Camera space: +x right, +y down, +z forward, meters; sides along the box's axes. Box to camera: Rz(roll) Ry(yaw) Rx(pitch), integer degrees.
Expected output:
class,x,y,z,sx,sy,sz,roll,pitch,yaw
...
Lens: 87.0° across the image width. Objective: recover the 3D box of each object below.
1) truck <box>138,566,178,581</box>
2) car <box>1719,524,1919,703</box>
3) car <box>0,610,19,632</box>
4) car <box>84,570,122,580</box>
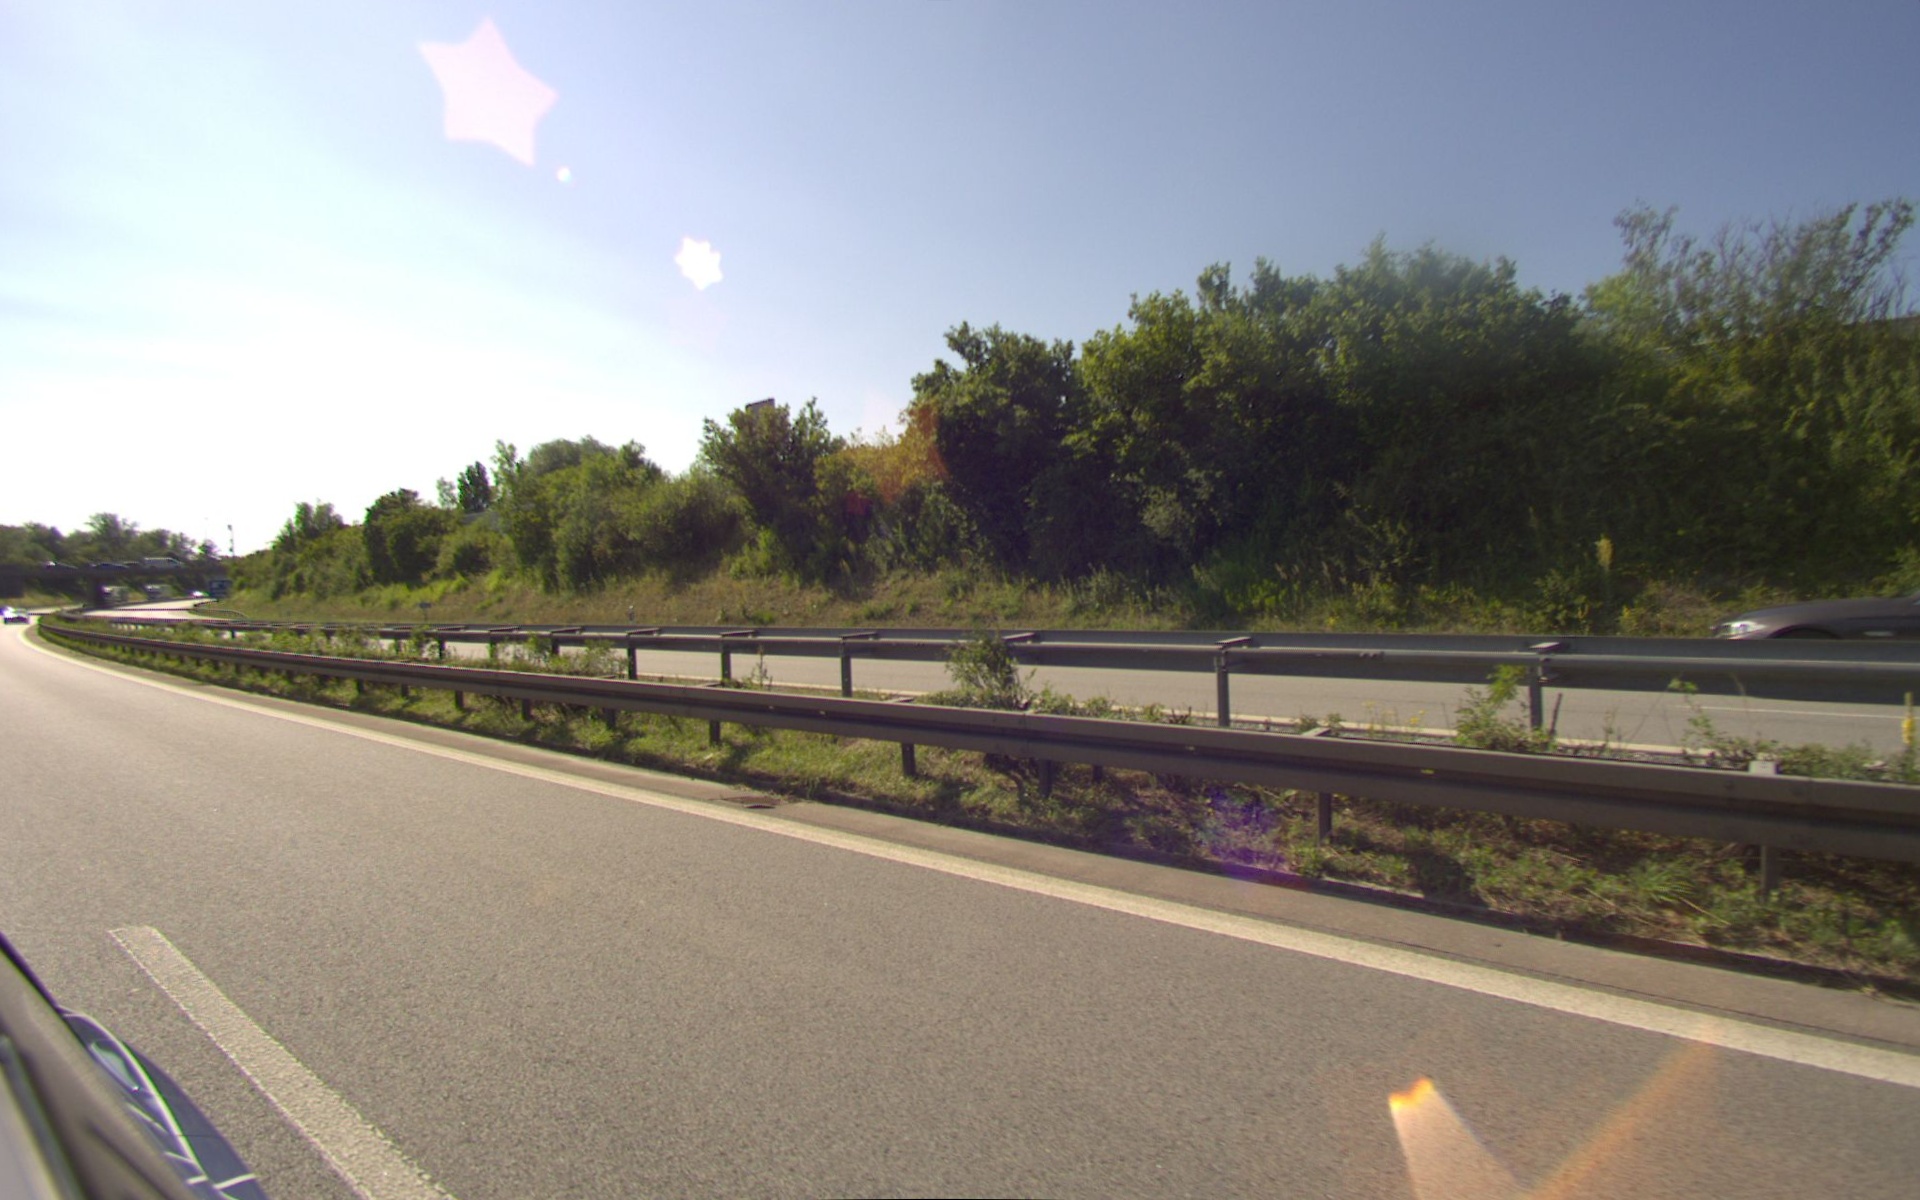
class,x,y,z,sx,sy,sz,roll,pitch,yaw
truck,-125.083,-4.126,157.881,4.793,2.183,2.004,-1,2,-38
car,9.985,0.113,8.901,5.171,1.576,1.946,-1,-1,41
car,-90.275,1.994,95.597,1.970,2.029,4.604,0,-1,-43
car,-130.248,-3.838,153.850,4.371,1.567,1.911,-1,2,-37
